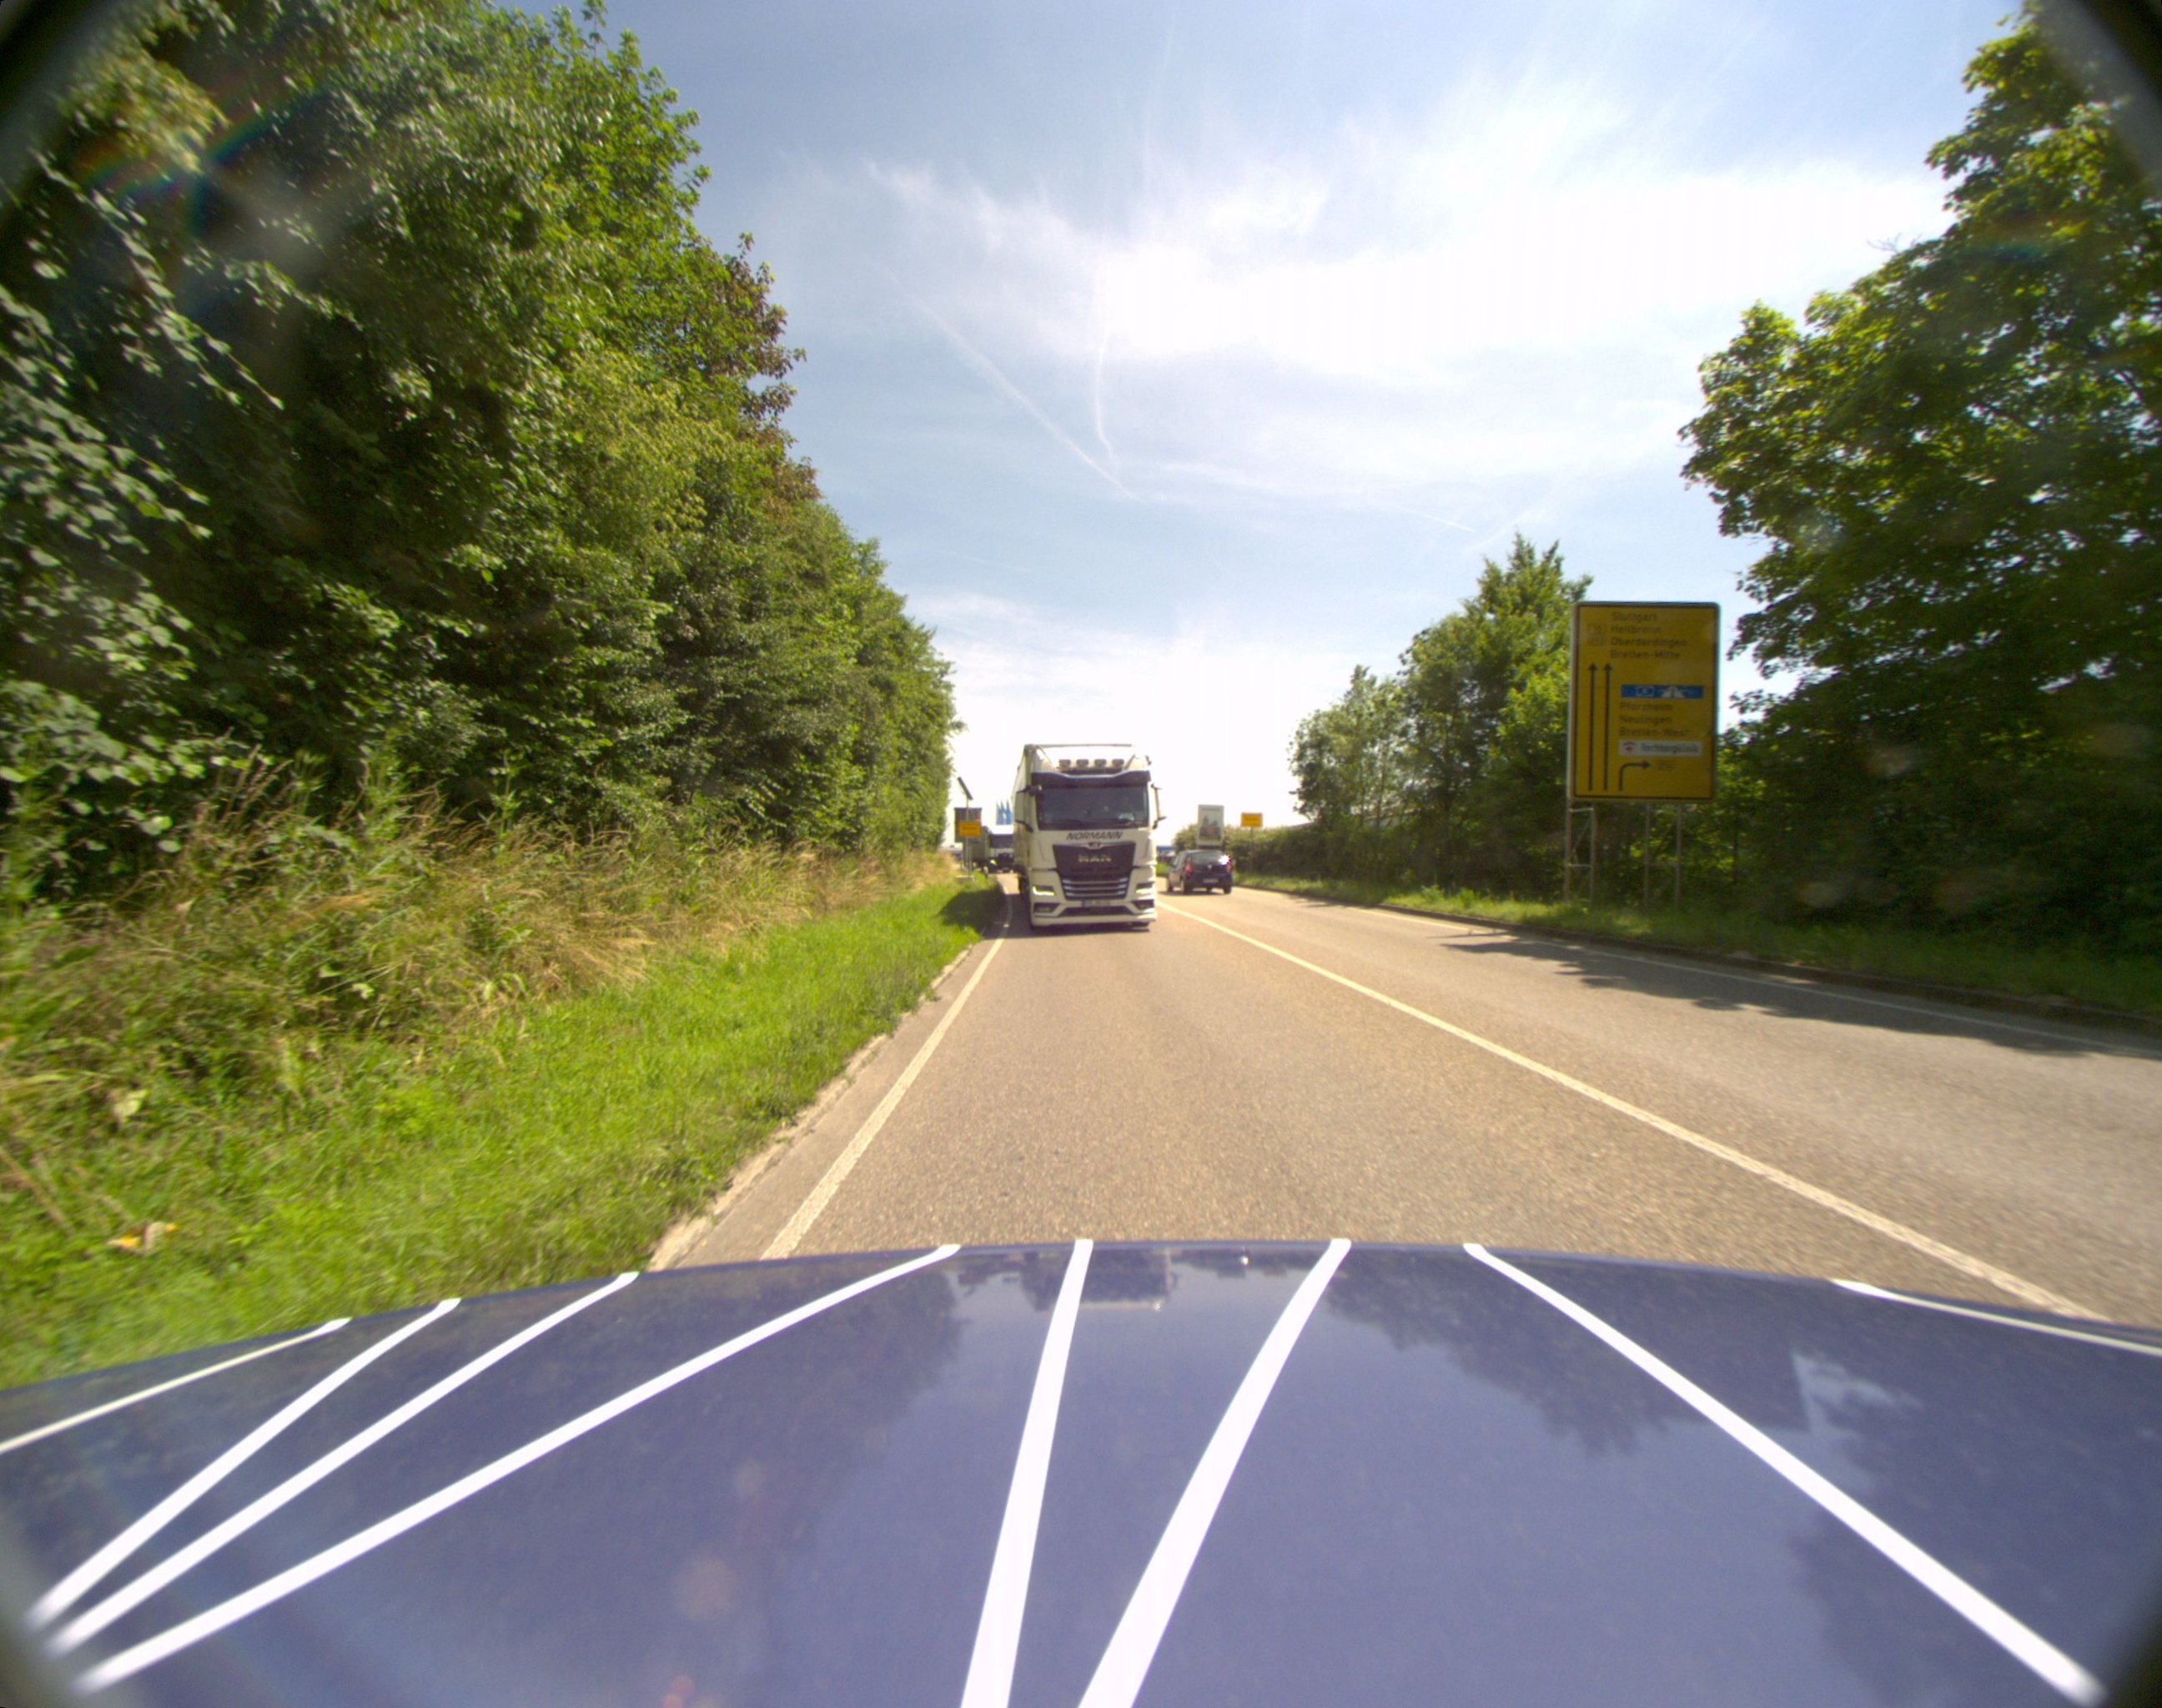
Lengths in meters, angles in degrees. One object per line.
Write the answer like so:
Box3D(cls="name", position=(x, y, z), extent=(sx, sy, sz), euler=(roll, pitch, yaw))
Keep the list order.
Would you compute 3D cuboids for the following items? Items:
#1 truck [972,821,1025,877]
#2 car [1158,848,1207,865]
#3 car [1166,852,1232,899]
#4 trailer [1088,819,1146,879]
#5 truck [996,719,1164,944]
Box3D(cls="truck", position=(-7.807, -0.605, 69.471), extent=(2.984, 4.447, 16.430), euler=(-2, 2, -12))
Box3D(cls="car", position=(8.943, 0.247, 67.209), extent=(3.998, 1.324, 2.000), euler=(2, 0, -2))
Box3D(cls="car", position=(4.157, 0.720, 27.362), extent=(1.688, 1.520, 4.069), euler=(-2, 0, -1))
Box3D(cls="trailer", position=(2.384, -0.343, 53.220), extent=(2.585, 3.797, 8.909), euler=(-2, 0, -6))
Box3D(cls="truck", position=(-0.418, -0.665, 22.836), extent=(2.981, 4.071, 17.624), euler=(-2, 2, -3))
